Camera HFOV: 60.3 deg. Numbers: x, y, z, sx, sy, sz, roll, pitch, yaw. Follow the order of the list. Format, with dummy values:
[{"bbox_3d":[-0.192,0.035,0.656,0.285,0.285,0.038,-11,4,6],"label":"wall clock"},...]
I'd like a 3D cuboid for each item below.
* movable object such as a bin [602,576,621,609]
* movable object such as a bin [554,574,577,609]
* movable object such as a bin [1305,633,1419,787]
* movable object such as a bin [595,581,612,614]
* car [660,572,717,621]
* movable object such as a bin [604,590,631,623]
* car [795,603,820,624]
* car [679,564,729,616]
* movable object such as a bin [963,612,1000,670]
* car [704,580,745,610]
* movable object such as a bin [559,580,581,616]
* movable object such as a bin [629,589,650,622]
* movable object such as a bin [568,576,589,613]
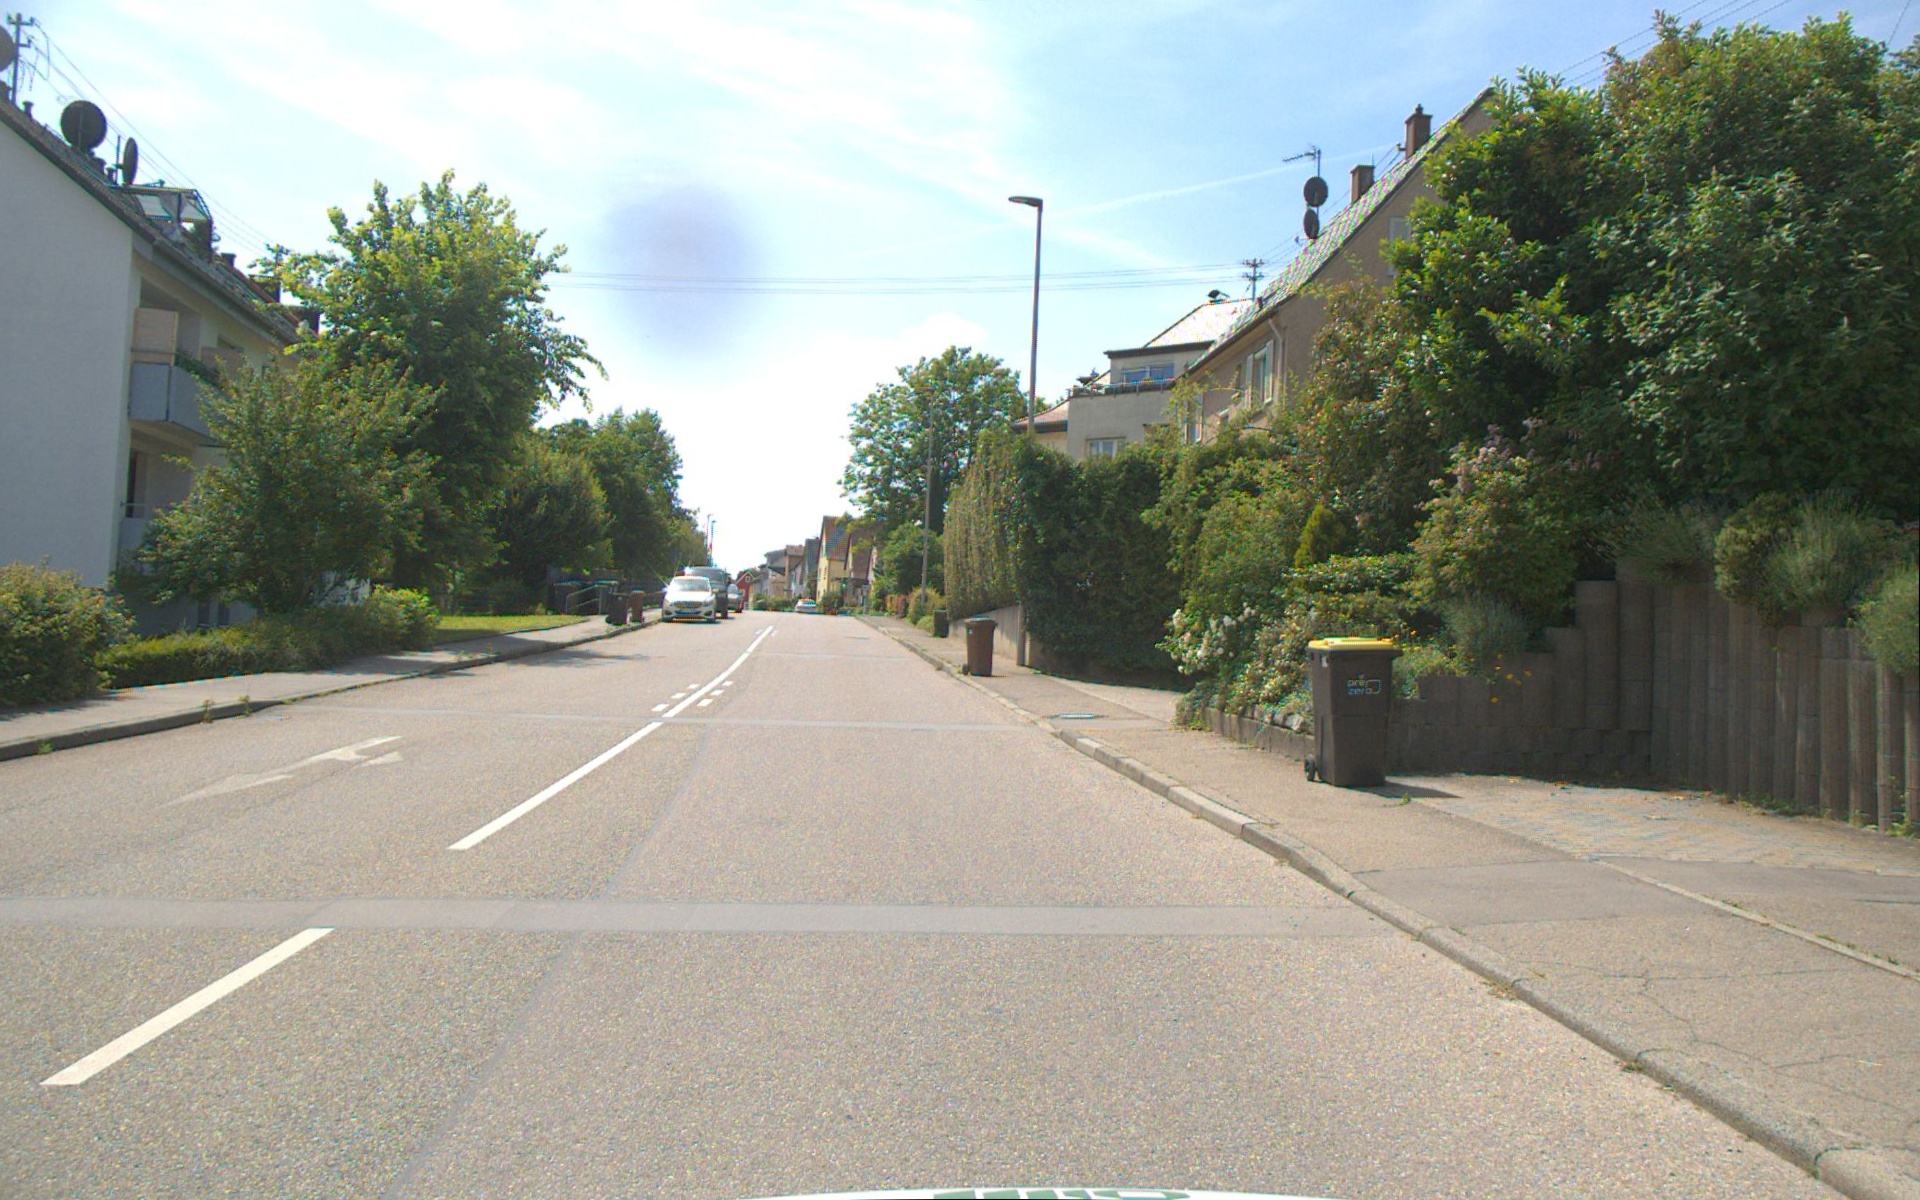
[{"bbox_3d":[-12.027,-0.260,57.043,0.486,1.124,0.710,0,-1,1],"label":"movable object such as a bin"},{"bbox_3d":[-12.942,-0.268,54.264,0.590,1.115,0.650,2,0,1],"label":"movable object such as a bin"},{"bbox_3d":[2.993,0.802,12.374,0.576,1.077,0.919,1,0,-3],"label":"movable object such as a bin"},{"bbox_3d":[-11.997,-0.088,55.642,0.506,1.123,0.529,1,0,-7],"label":"movable object such as a bin"},{"bbox_3d":[-9.505,-0.142,58.082,1.777,1.576,4.236,2,1,-8],"label":"car"},{"bbox_3d":[-9.853,0.175,47.574,0.606,0.933,0.686,1,0,1],"label":"movable object such as a bin"},{"bbox_3d":[-12.332,1.078,133.686,1.955,1.631,3.994,0,0,-7],"label":"car"},{"bbox_3d":[-10.090,-0.409,65.467,1.861,1.953,4.862,1,1,-8],"label":"car"},{"bbox_3d":[0.373,0.715,28.970,0.577,0.995,0.785,0,0,-6],"label":"movable object such as a bin"},{"bbox_3d":[-11.701,-0.244,82.385,1.746,1.419,4.404,1,0,-6],"label":"car"},{"bbox_3d":[-12.966,-0.069,54.992,0.535,1.198,0.674,2,0,-1],"label":"movable object such as a bin"},{"bbox_3d":[-9.745,0.167,50.350,0.496,1.005,0.563,1,0,1],"label":"movable object such as a bin"},{"bbox_3d":[-12.880,-0.187,55.843,0.466,1.198,0.840,2,0,0],"label":"movable object such as a bin"}]
